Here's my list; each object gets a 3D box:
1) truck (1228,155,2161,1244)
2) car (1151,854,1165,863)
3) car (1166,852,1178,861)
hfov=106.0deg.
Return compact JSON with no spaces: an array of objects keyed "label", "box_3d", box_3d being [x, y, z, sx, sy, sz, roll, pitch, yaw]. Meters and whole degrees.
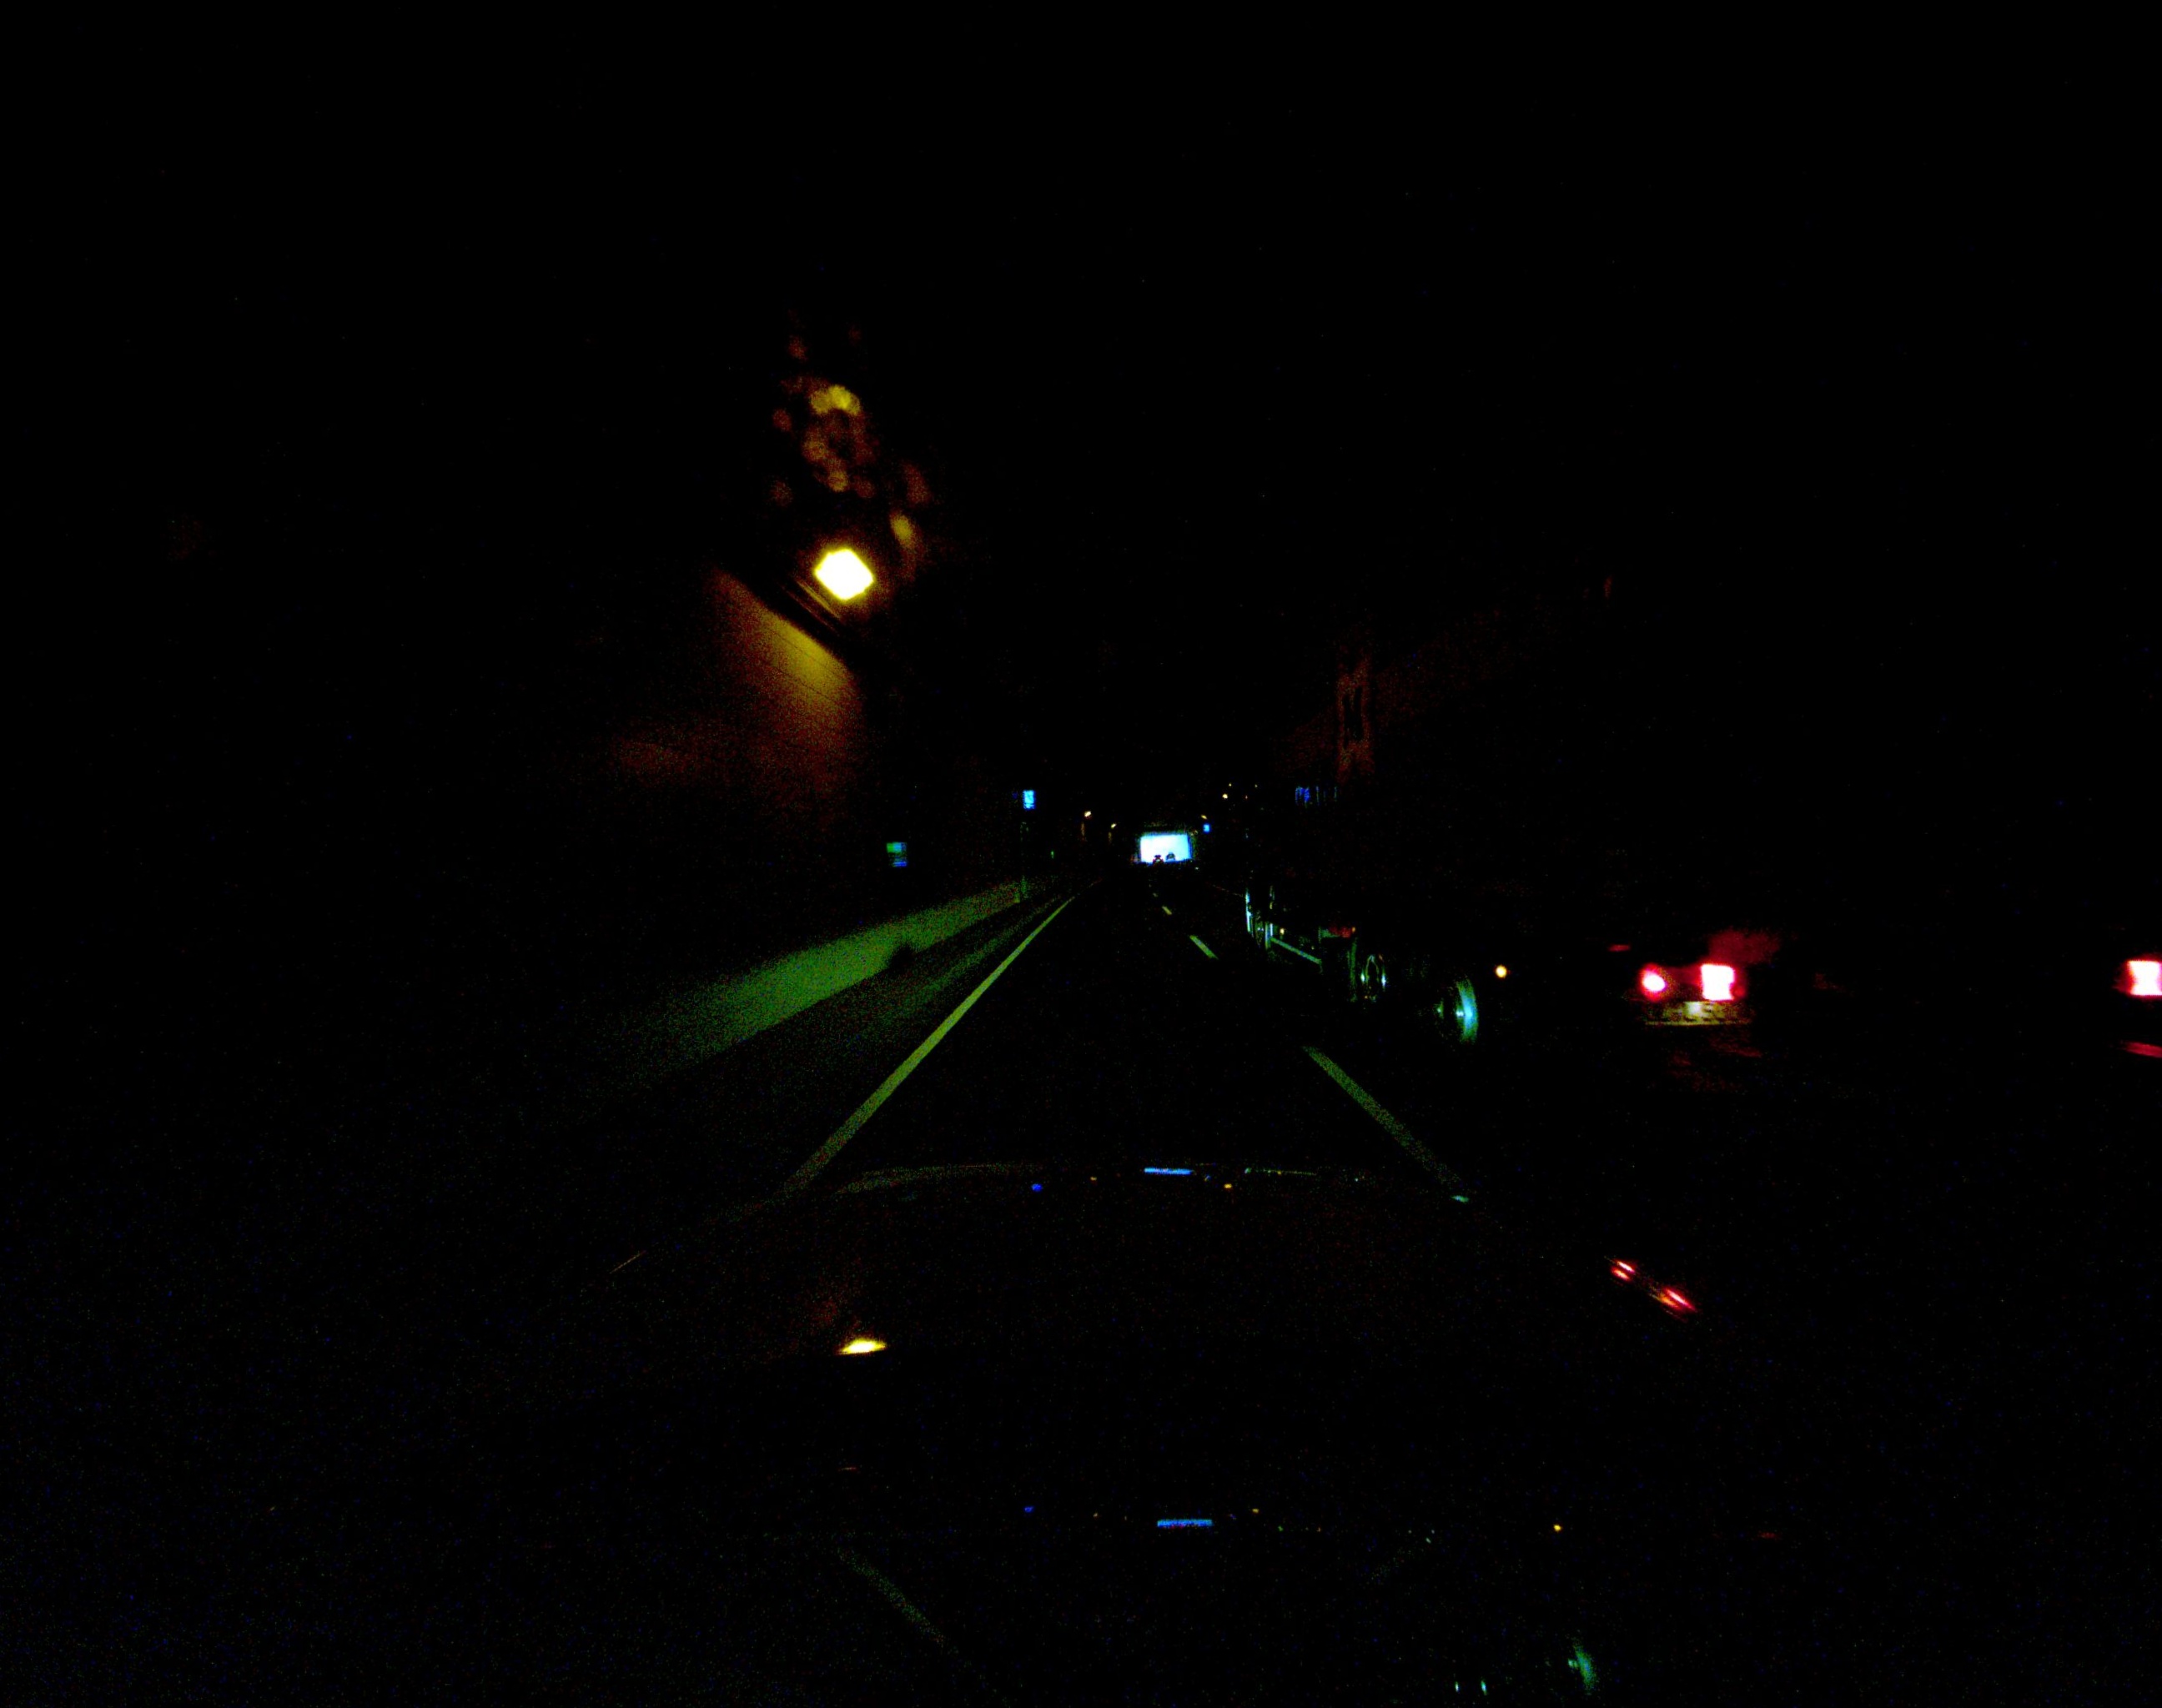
[{"label":"truck","box_3d":[3.683,-0.584,7.923,2.878,3.913,9.912,-2,0,2]},{"label":"car","box_3d":[12.588,0.696,133.095,1.830,1.388,4.011,-2,-1,10]},{"label":"car","box_3d":[16.910,0.480,151.694,1.861,1.732,4.003,-2,-1,3]}]
